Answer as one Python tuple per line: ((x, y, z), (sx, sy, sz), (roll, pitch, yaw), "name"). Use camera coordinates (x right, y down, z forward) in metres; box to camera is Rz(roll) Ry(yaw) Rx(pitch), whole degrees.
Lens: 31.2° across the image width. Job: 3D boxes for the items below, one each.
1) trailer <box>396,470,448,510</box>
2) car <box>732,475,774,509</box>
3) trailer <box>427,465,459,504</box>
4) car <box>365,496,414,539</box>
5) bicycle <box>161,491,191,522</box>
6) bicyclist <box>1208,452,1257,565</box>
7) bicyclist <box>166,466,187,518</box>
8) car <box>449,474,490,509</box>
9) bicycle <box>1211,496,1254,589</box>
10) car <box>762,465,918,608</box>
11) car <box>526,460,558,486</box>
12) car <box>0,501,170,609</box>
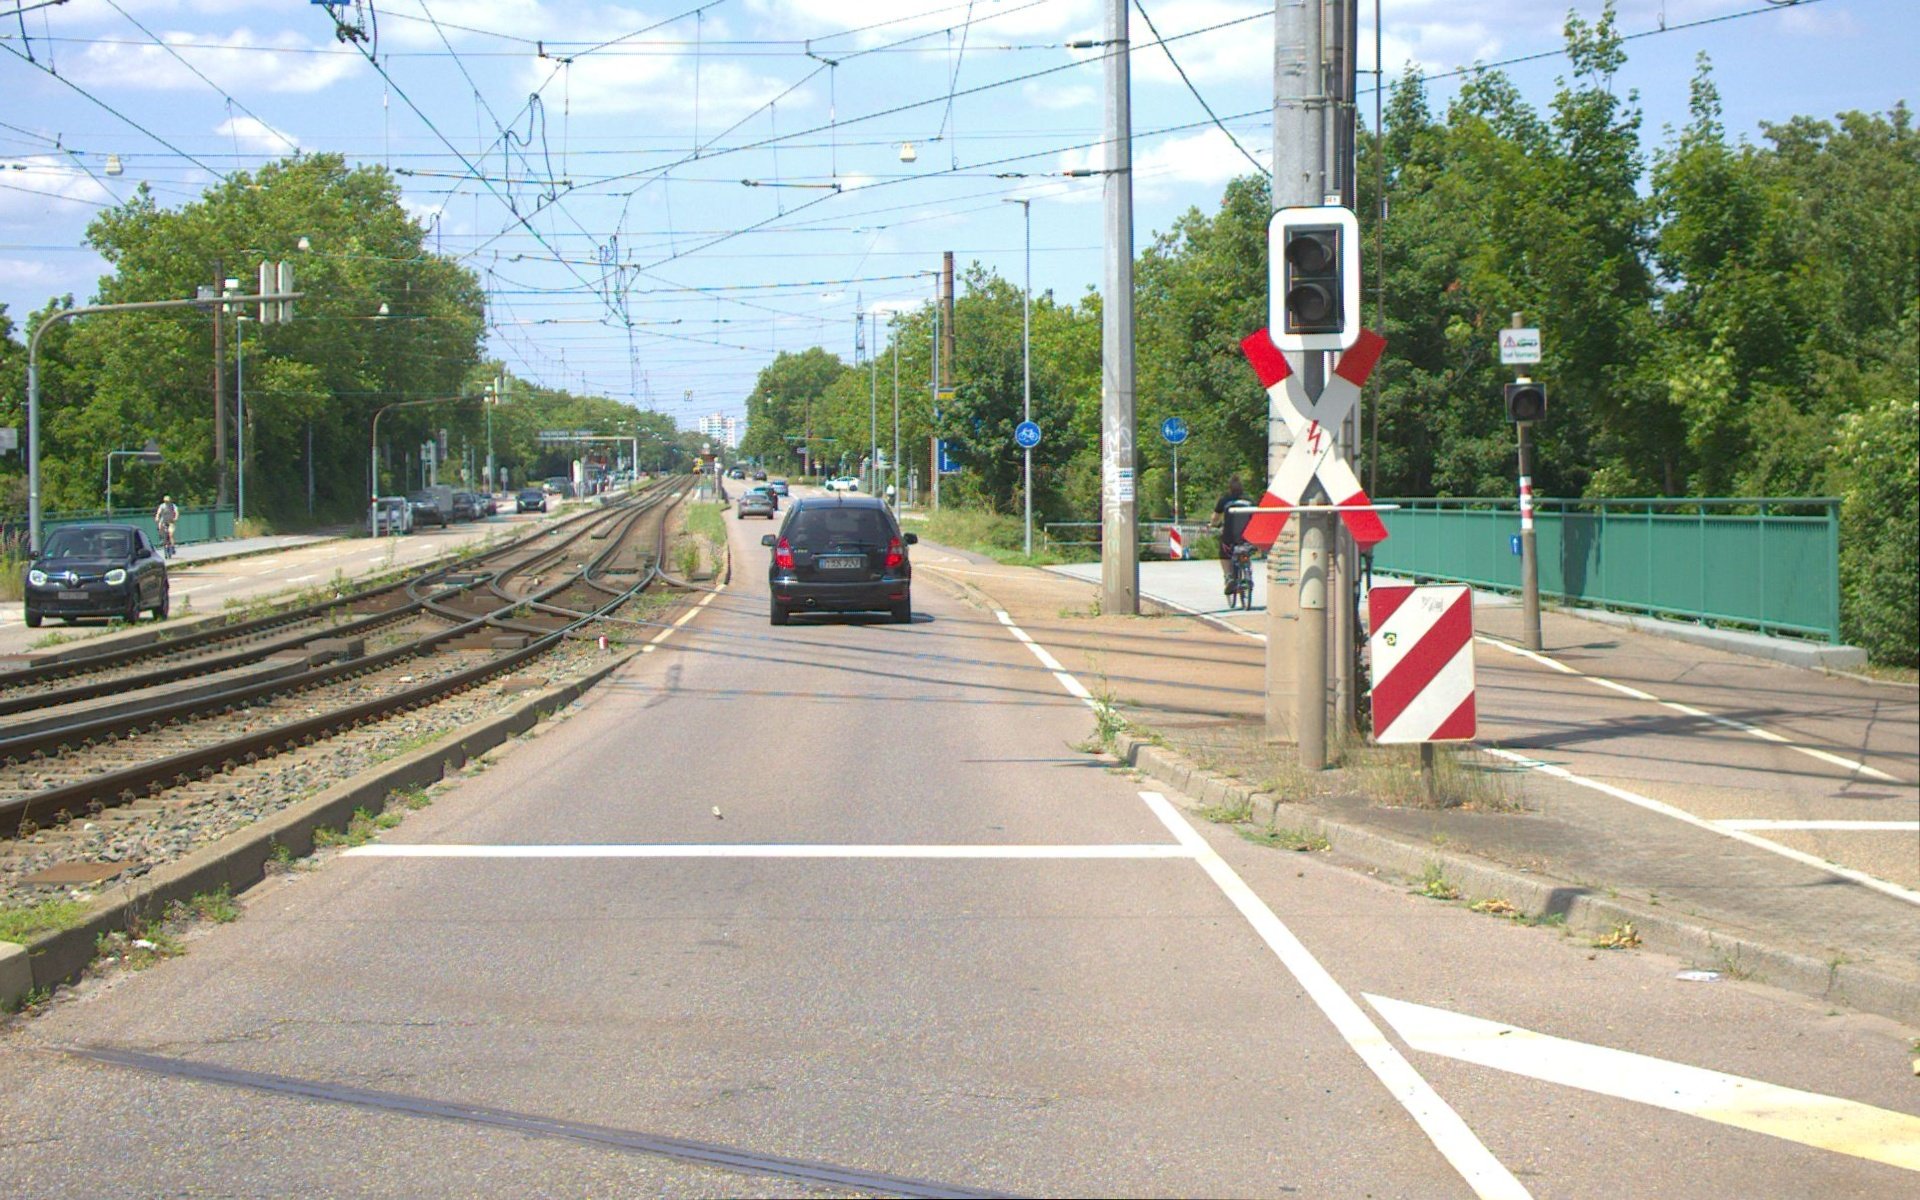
((-26.107, -5.366, 167.083), (2.461, 1.882, 5.964), (0, 2, -8), "trailer")
((-11.051, -5.781, 183.705), (1.885, 1.634, 4.001), (3, 3, 0), "car")
((-28.169, -6.310, 187.425), (1.609, 2.006, 3.917), (1, 3, -7), "trailer")
((-25.139, -3.647, 151.605), (1.719, 1.625, 4.618), (-3, 4, -5), "car")
((-22.018, -2.638, 96.540), (0.469, 0.865, 1.743), (0, 2, -2), "bicycle")
((3.637, -1.226, 45.862), (0.585, 1.489, 0.558), (1, 3, 1), "bicyclist")
((-22.018, -3.031, 96.596), (0.456, 1.469, 0.633), (0, 2, -1), "bicyclist")
((-28.572, -6.337, 200.469), (1.993, 2.007, 4.001), (-1, 1, -3), "car")
((3.635, -0.779, 45.940), (0.432, 1.148, 1.855), (1, 3, 1), "bicycle")
((-1.480, -0.850, 43.794), (1.853, 1.564, 4.389), (1, 4, -1), "car")
((-28.396, -8.617, 233.670), (1.875, 1.714, 5.332), (0, 2, -5), "car")
((-13.457, -0.723, 52.890), (1.705, 1.505, 3.734), (-1, 2, 0), "car")
